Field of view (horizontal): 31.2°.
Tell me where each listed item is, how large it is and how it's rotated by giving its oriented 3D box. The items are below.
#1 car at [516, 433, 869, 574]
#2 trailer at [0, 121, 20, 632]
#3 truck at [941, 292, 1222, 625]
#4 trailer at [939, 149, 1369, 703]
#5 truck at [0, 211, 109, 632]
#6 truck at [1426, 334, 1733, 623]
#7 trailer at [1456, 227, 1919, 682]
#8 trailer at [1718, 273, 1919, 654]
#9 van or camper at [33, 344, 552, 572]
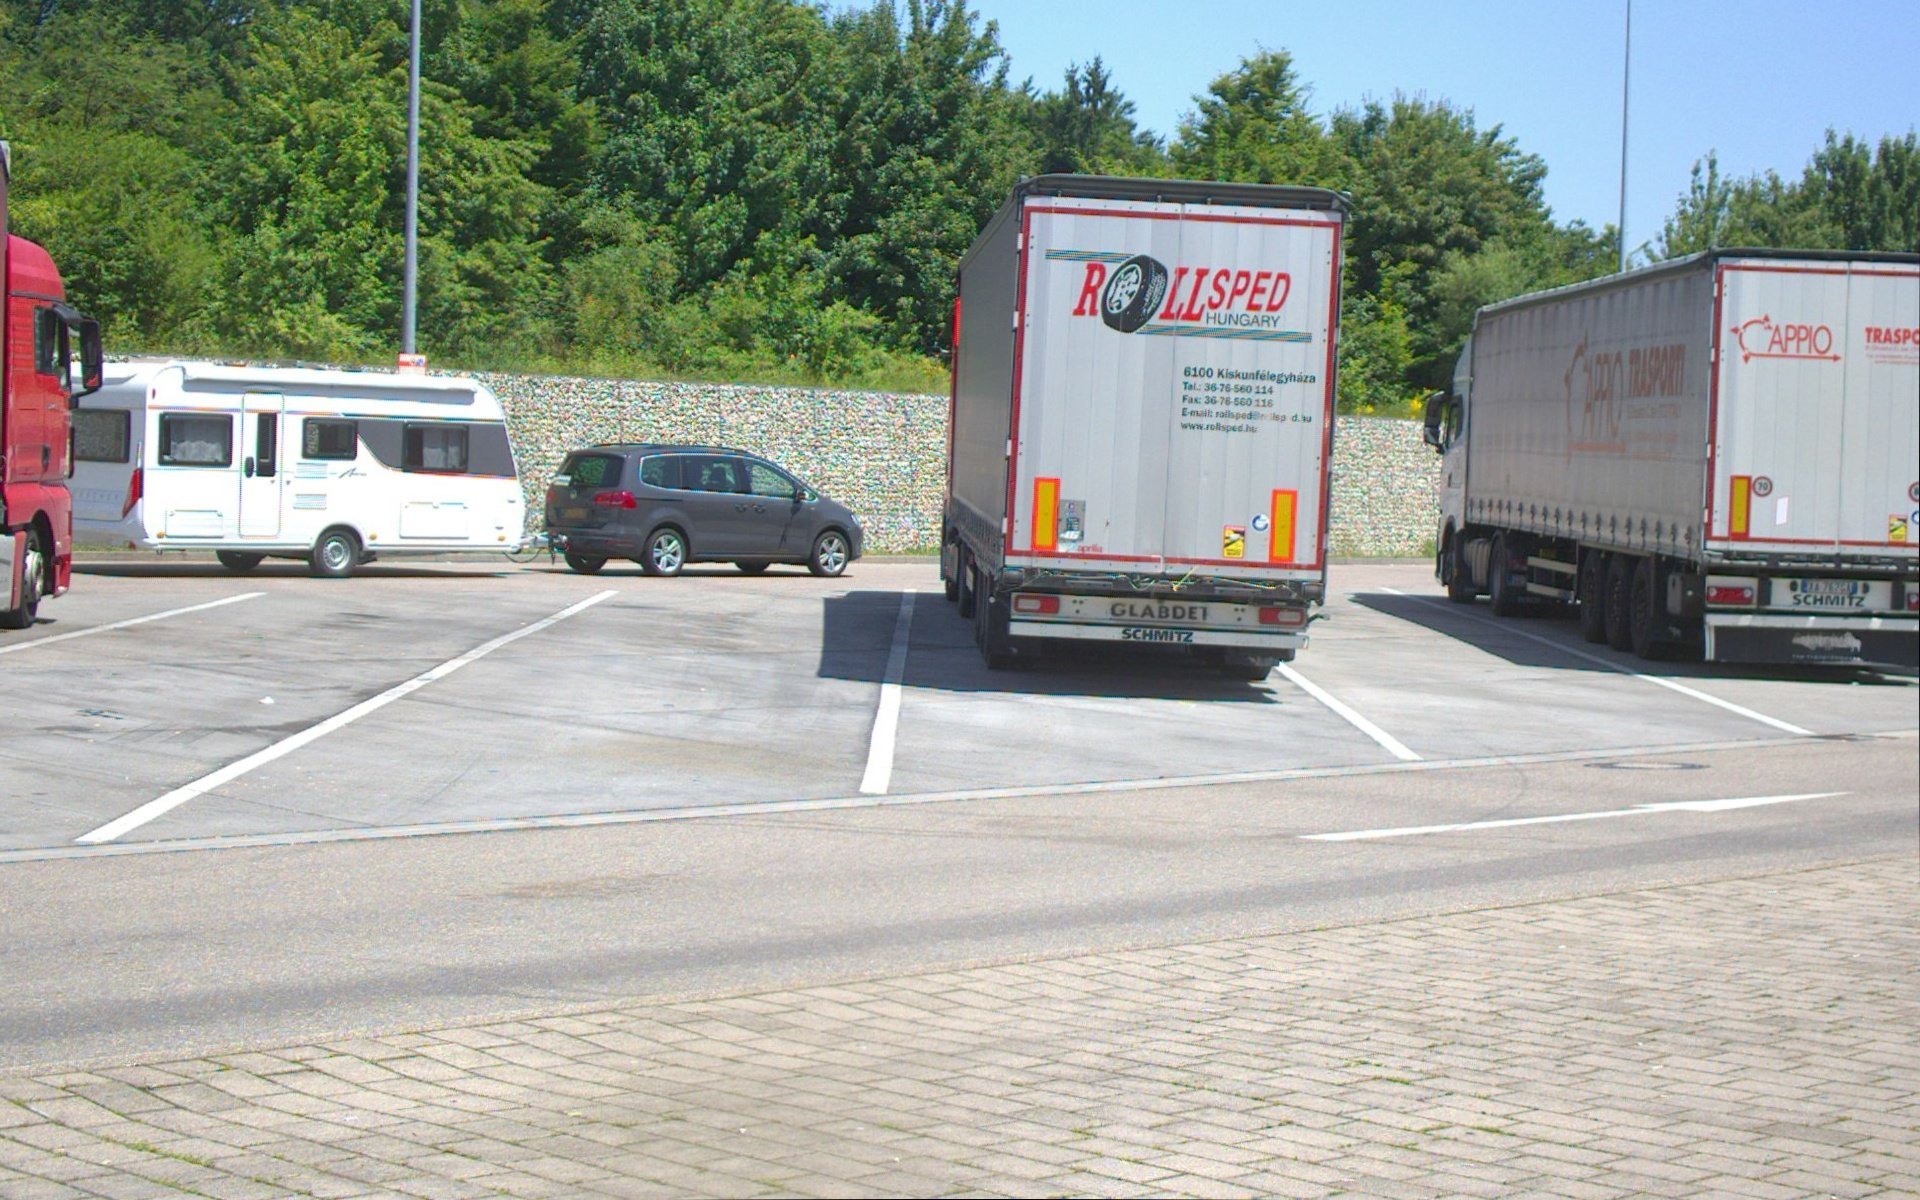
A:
[{"bbox_3d":[-3.564,-1.276,46.293,4.499,1.702,1.786,0,4,-42],"label":"car"},{"bbox_3d":[-9.150,-1.509,21.274,2.906,4.118,13.725,2,3,-1],"label":"trailer"},{"bbox_3d":[1.292,-1.645,39.781,2.852,3.472,5.483,2,3,-1],"label":"truck"},{"bbox_3d":[1.439,-1.635,33.168,2.906,4.118,13.725,2,3,-1],"label":"trailer"},{"bbox_3d":[-9.238,-1.529,28.713,2.852,3.416,5.483,2,3,-1],"label":"truck"},{"bbox_3d":[8.066,-1.636,45.469,2.852,3.472,5.483,2,3,-1],"label":"truck"},{"bbox_3d":[8.157,-1.634,38.656,2.838,4.118,13.724,2,3,-1],"label":"trailer"},{"bbox_3d":[11.794,-1.533,39.407,2.838,4.118,13.724,2,3,-1],"label":"trailer"},{"bbox_3d":[-8.052,-1.688,41.906,5.833,2.556,2.271,0,4,-44],"label":"van or camper"}]
